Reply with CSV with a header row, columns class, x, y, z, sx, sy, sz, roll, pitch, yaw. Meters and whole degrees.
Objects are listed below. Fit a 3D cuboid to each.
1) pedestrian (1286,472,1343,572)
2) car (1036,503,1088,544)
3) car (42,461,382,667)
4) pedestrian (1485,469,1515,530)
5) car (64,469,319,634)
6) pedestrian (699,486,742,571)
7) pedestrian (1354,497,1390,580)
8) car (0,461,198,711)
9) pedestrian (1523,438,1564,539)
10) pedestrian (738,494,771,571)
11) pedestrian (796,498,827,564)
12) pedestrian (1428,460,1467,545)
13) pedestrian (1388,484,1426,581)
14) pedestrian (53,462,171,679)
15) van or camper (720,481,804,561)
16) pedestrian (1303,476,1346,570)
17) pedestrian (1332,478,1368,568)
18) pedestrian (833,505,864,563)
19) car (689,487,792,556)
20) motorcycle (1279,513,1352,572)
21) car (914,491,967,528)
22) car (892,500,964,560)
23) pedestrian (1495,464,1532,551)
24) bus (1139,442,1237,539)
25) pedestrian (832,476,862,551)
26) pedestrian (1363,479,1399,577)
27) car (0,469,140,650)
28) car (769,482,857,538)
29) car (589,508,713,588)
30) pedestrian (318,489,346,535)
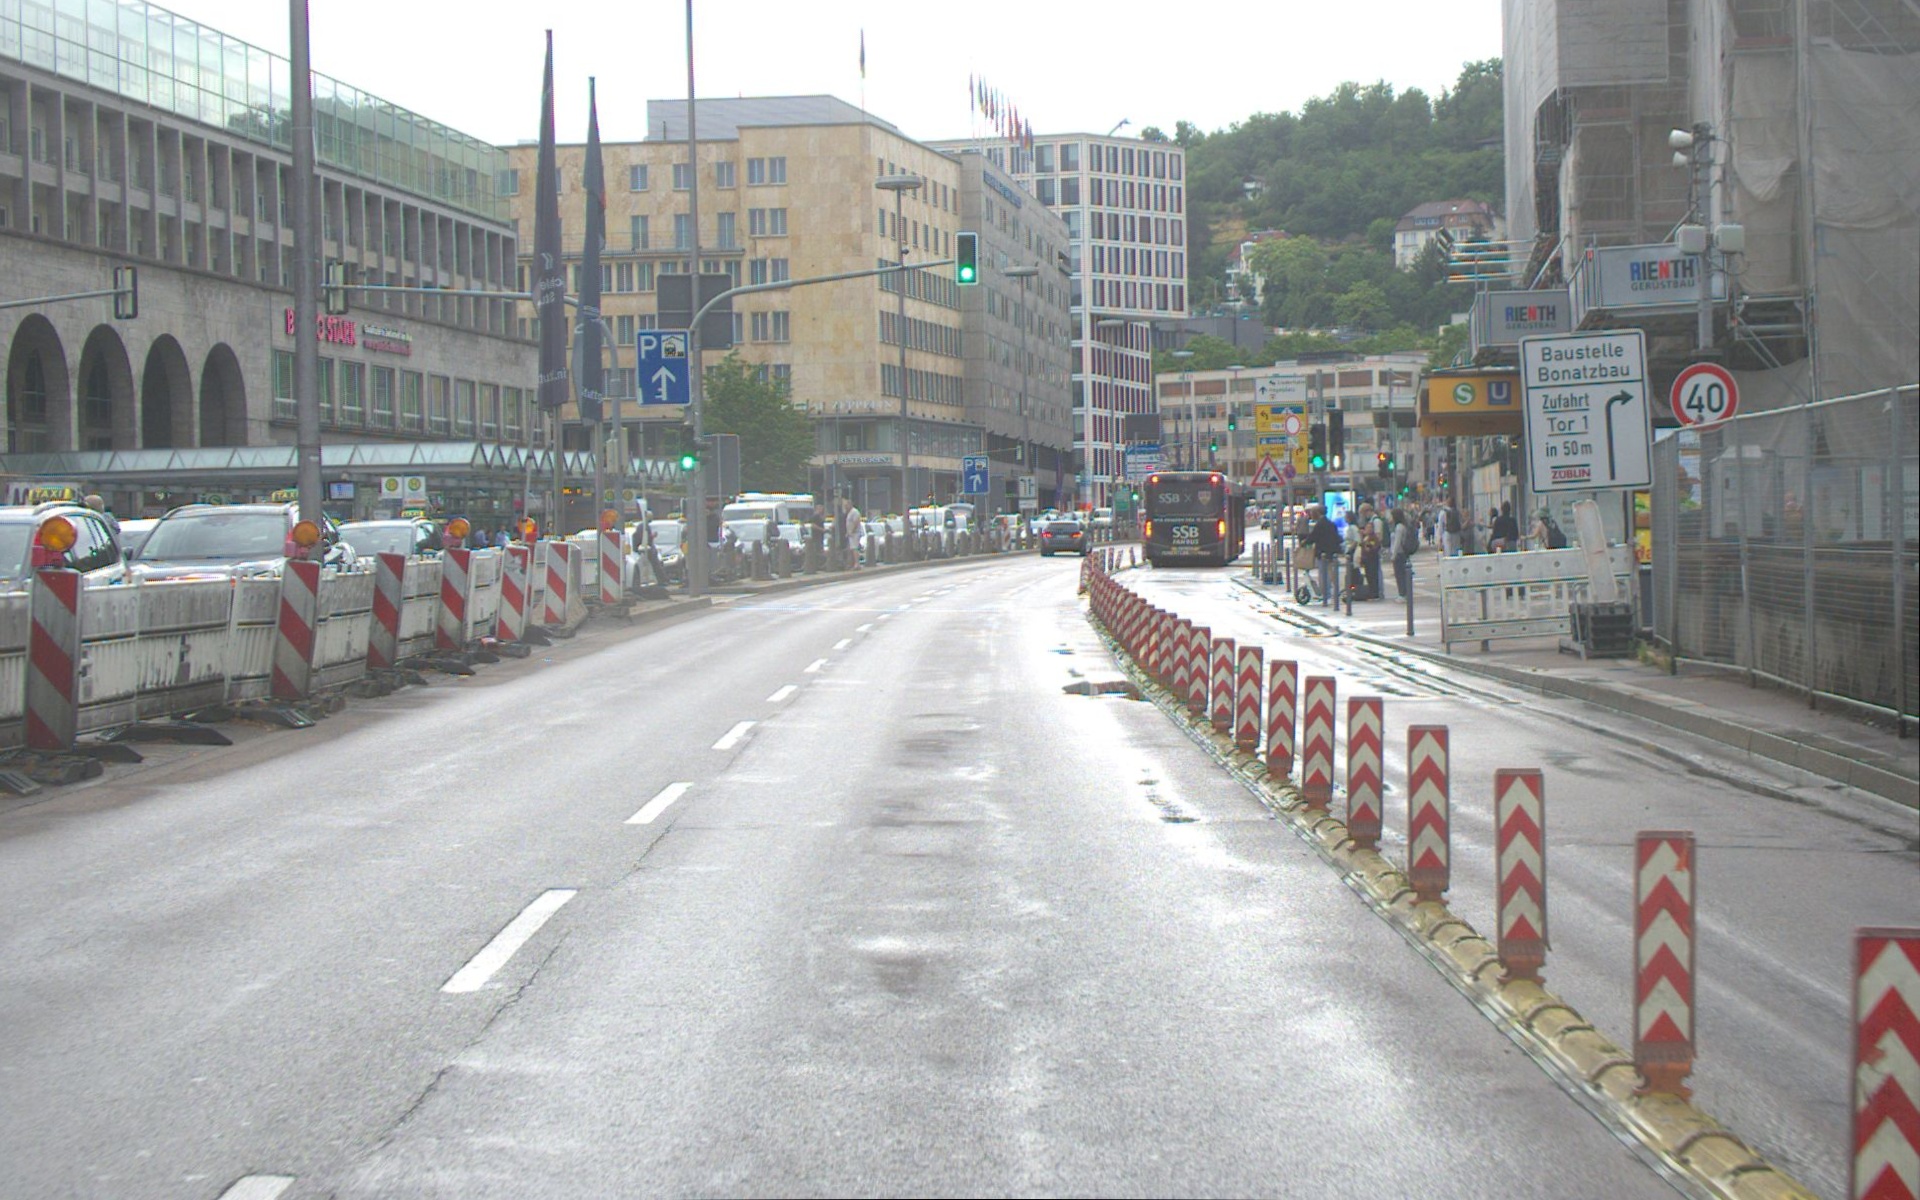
class,x,y,z,sx,sy,sz,roll,pitch,yaw
pedestrian,6.270,-1.383,60.826,0.580,1.734,0.822,-2,2,-37
car,4.043,-3.057,137.038,1.993,1.546,4.000,-1,2,1
car,-7.289,-0.424,34.035,1.994,1.811,4.811,-1,3,4
pedestrian,14.045,-2.622,89.407,0.651,1.534,0.665,-3,2,7
car,-9.449,-0.658,42.637,1.903,1.891,4.523,1,3,3
pedestrian,-5.129,-1.527,73.540,0.781,1.769,0.607,-4,2,-6
pedestrian,7.408,-1.112,61.810,0.558,1.444,0.711,-3,2,7
car,-7.728,-0.170,27.273,1.994,1.764,4.811,-1,3,3
pedestrian,9.776,-1.871,57.591,0.564,1.645,0.614,-3,2,11
pedestrian,-4.582,-1.505,76.559,0.651,1.705,0.593,1,2,4
pedestrian,-3.979,-1.854,92.139,0.698,1.748,0.711,-1,2,6
pedestrian,10.970,-2.199,77.417,0.723,1.841,0.810,-3,2,6
pedestrian,7.791,-1.178,59.911,0.558,1.645,0.614,-3,2,7
pedestrian,-7.952,-0.287,32.269,0.875,2.006,0.822,-1,2,0
van or camper,-6.673,-2.706,116.398,1.994,2.505,5.370,-4,2,4
pedestrian,6.990,-1.483,65.963,0.558,1.753,0.752,-4,2,-7
pedestrian,7.334,-1.449,64.624,0.558,1.635,0.752,-3,2,7
pedestrian,-3.115,-1.839,95.849,0.723,1.601,0.996,1,2,6
car,-5.726,-2.079,90.280,1.930,1.684,4.682,-2,1,5
motorcycle,6.285,-1.026,60.827,0.584,1.018,1.239,-2,2,-37
car,-0.857,-3.977,150.342,1.994,1.546,4.000,-1,2,4
car,-1.197,-2.706,132.091,1.994,2.171,5.543,-1,2,7
pedestrian,10.609,-1.780,65.911,0.549,1.626,0.995,-3,2,6
bus,7.560,-3.586,113.096,2.756,3.058,9.078,0,2,7
pedestrian,-3.026,-2.319,92.098,0.723,2.000,0.772,0,2,6
pedestrian,7.701,-1.319,62.884,0.558,1.746,0.711,-3,2,7
car,-10.118,-0.457,35.813,1.784,1.716,4.483,-1,3,4
car,-4.393,-2.715,103.327,1.930,1.571,5.012,-2,2,5
car,-6.805,-1.173,76.204,2.015,1.615,4.842,-1,2,4
pedestrian,-19.405,-2.717,106.256,0.704,1.388,0.704,-1,3,-23
